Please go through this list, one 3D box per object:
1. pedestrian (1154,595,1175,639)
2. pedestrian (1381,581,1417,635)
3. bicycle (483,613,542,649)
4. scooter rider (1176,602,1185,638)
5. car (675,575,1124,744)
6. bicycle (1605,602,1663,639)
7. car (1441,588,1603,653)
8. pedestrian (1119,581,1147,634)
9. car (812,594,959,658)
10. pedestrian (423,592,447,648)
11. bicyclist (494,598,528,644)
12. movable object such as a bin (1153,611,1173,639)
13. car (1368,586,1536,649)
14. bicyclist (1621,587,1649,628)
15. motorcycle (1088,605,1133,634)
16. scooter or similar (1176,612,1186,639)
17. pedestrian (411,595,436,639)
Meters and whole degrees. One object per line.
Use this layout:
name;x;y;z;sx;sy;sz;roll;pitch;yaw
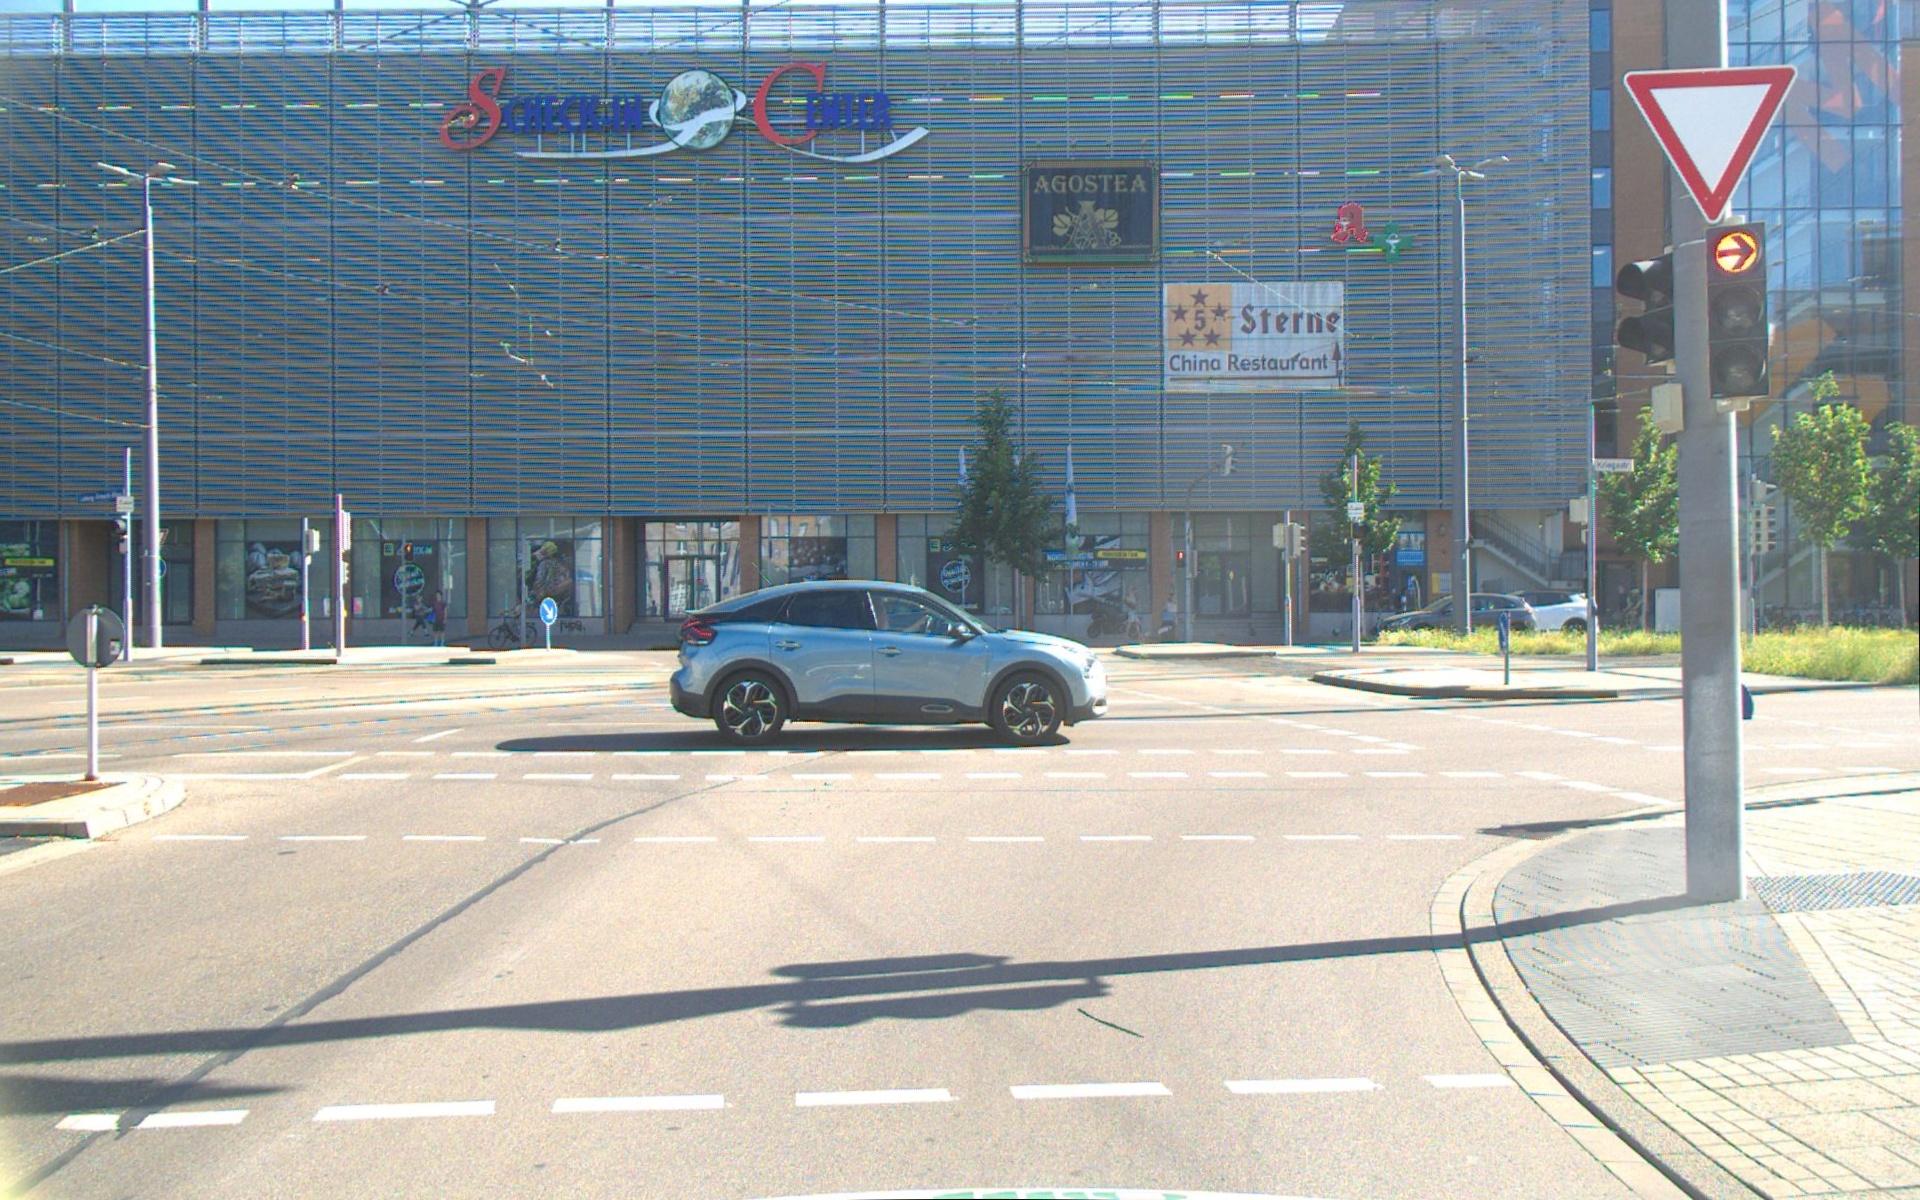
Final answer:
pedestrian;6.854;0.577;55.365;0.641;1.438;0.850;1;0;10
pedestrian;15.596;0.283;58.795;0.991;1.860;1.036;-2;0;3
bicycle;-14.770;1.007;54.621;0.559;1.105;1.852;0;2;42
scooter rider;7.357;0.666;55.132;0.282;1.221;0.386;1;-1;10
car;-0.626;0.563;16.266;4.183;1.540;1.707;1;0;-7
bicycle;23.633;0.703;58.000;1.819;1.238;0.569;-1;1;-2
car;16.768;0.615;49.425;4.246;1.895;1.837;0;-1;-10
pedestrian;6.219;0.272;59.651;0.930;1.860;0.846;-2;-4;5
car;-2.173;0.772;48.882;4.203;1.611;1.840;3;-1;-2
pedestrian;-17.341;0.662;54.669;0.683;1.829;0.727;-2;0;-17
bicyclist;-14.802;0.690;54.545;0.663;1.452;0.844;0;2;42
movable object such as a bin;6.739;0.831;54.899;0.599;0.920;0.970;1;0;10
car;13.667;0.496;46.048;4.063;1.495;1.840;3;-1;-2
bicyclist;23.660;0.261;58.004;0.738;1.410;0.565;-1;1;-1
motorcycle;5.526;0.726;60.709;1.605;1.022;0.447;1;0;6
scooter or similar;7.363;0.833;55.191;0.288;0.888;1.004;1;0;10
pedestrian;-19.922;0.629;61.449;0.646;1.629;0.594;1;-1;18
